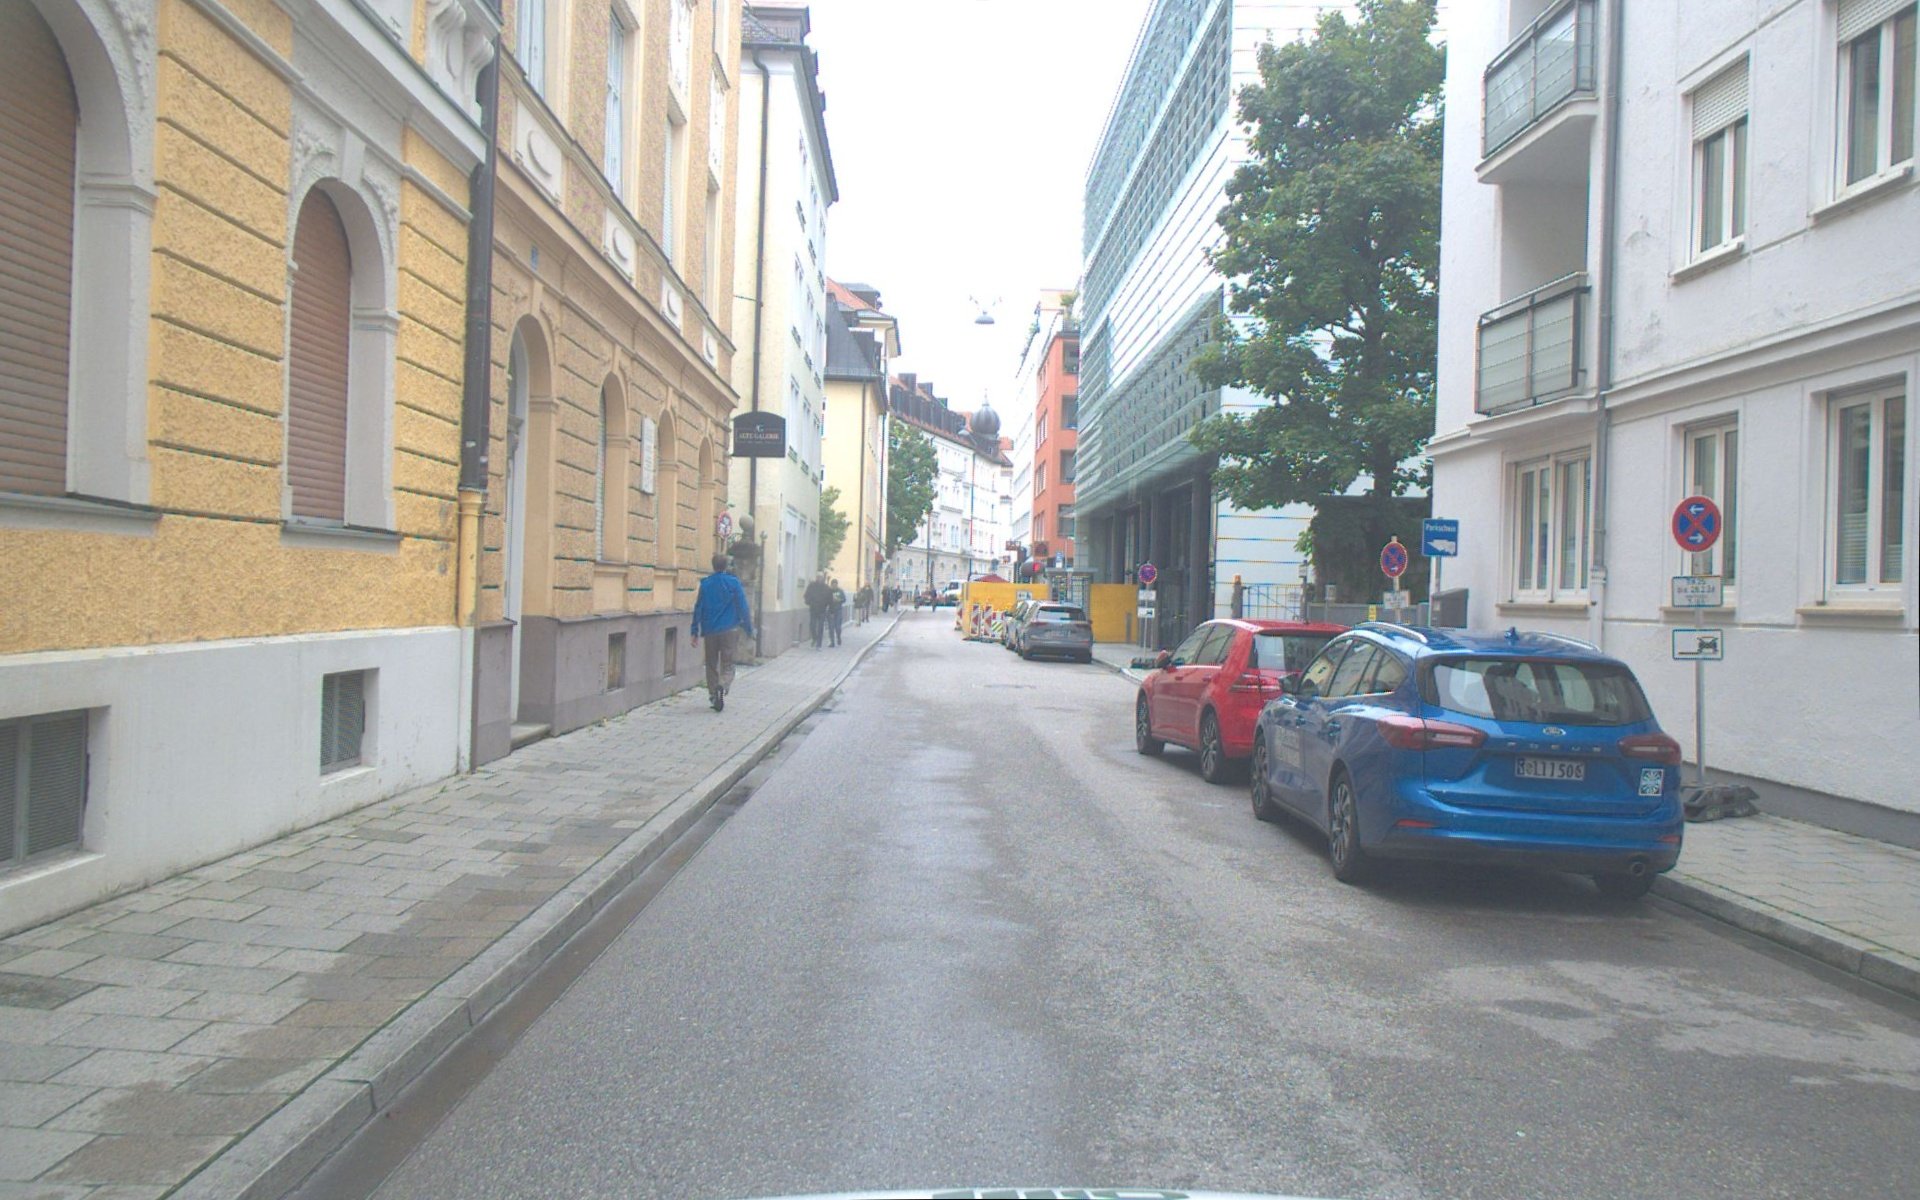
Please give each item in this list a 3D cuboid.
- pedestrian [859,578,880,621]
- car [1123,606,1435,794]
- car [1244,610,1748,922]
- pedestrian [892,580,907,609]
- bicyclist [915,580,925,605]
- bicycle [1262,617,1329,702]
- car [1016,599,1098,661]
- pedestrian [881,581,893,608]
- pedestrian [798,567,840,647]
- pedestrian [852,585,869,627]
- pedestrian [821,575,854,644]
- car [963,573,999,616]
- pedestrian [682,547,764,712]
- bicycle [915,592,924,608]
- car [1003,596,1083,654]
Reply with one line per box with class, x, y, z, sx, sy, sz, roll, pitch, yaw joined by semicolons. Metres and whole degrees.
pedestrian;-4.144;-0.017;76.059;0.850;1.914;1.134;2;0;-2
car;2.934;0.861;16.189;1.727;1.472;4.292;3;0;-7
car;3.098;0.854;10.583;1.758;1.463;4.383;3;0;0
pedestrian;-3.739;-0.332;102.670;0.822;1.730;0.802;2;0;-2
bicyclist;-2.761;-0.514;112.771;0.646;1.671;0.895;1;0;-2
bicycle;5.512;0.960;27.282;0.693;1.219;1.834;1;3;0
car;2.431;0.723;42.211;1.673;1.457;4.328;2;0;-2
pedestrian;-4.551;-0.327;102.861;0.657;1.677;0.761;2;0;-2
pedestrian;-3.358;0.169;39.546;0.887;1.859;0.955;2;0;-2
pedestrian;-4.207;0.252;69.835;0.634;1.705;0.723;2;0;-2
pedestrian;-3.151;0.240;42.570;0.698;1.694;0.929;4;0;-2
car;1.313;-0.351;104.769;1.953;2.581;4.973;2;0;-2
pedestrian;-2.825;0.345;19.813;0.741;1.887;1.076;3;0;-1
bicycle;-2.764;-0.022;112.861;0.648;1.057;2.004;1;0;-2
car;2.335;0.685;47.504;1.674;1.493;4.233;3;0;-5
